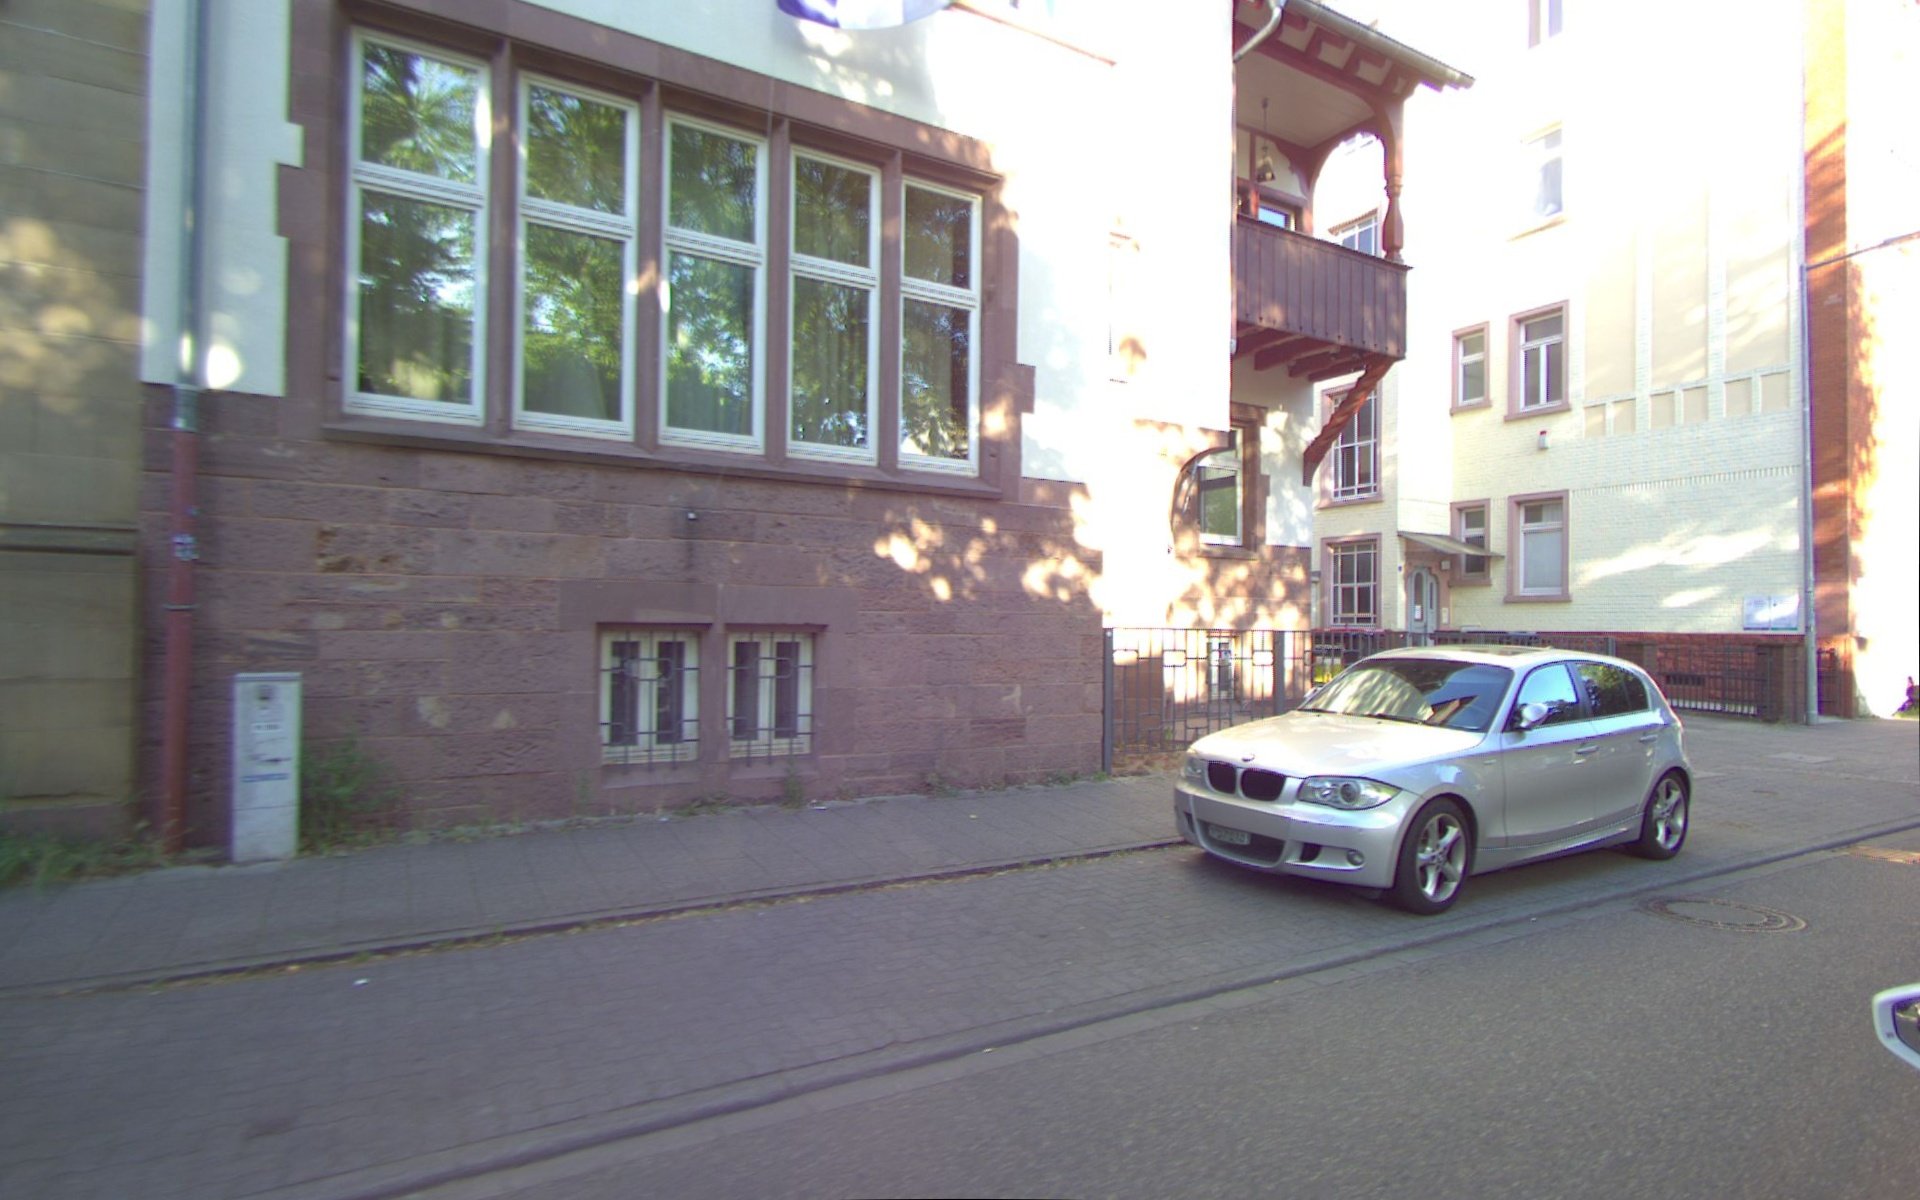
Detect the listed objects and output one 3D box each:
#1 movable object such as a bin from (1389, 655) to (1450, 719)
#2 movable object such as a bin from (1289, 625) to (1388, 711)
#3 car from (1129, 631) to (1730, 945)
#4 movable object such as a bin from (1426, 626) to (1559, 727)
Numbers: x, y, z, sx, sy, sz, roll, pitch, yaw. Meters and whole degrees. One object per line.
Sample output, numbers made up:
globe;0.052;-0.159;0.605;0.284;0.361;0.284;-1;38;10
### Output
movable object such as a bin;6.689;1.258;14.640;0.662;0.890;0.480;1;-1;-20
movable object such as a bin;6.219;1.085;16.557;0.680;1.335;1.370;2;-1;-36
car;3.242;0.988;6.709;4.058;1.486;1.734;2;-1;-32
movable object such as a bin;7.449;1.044;14.116;0.954;1.316;1.374;1;-1;-20
